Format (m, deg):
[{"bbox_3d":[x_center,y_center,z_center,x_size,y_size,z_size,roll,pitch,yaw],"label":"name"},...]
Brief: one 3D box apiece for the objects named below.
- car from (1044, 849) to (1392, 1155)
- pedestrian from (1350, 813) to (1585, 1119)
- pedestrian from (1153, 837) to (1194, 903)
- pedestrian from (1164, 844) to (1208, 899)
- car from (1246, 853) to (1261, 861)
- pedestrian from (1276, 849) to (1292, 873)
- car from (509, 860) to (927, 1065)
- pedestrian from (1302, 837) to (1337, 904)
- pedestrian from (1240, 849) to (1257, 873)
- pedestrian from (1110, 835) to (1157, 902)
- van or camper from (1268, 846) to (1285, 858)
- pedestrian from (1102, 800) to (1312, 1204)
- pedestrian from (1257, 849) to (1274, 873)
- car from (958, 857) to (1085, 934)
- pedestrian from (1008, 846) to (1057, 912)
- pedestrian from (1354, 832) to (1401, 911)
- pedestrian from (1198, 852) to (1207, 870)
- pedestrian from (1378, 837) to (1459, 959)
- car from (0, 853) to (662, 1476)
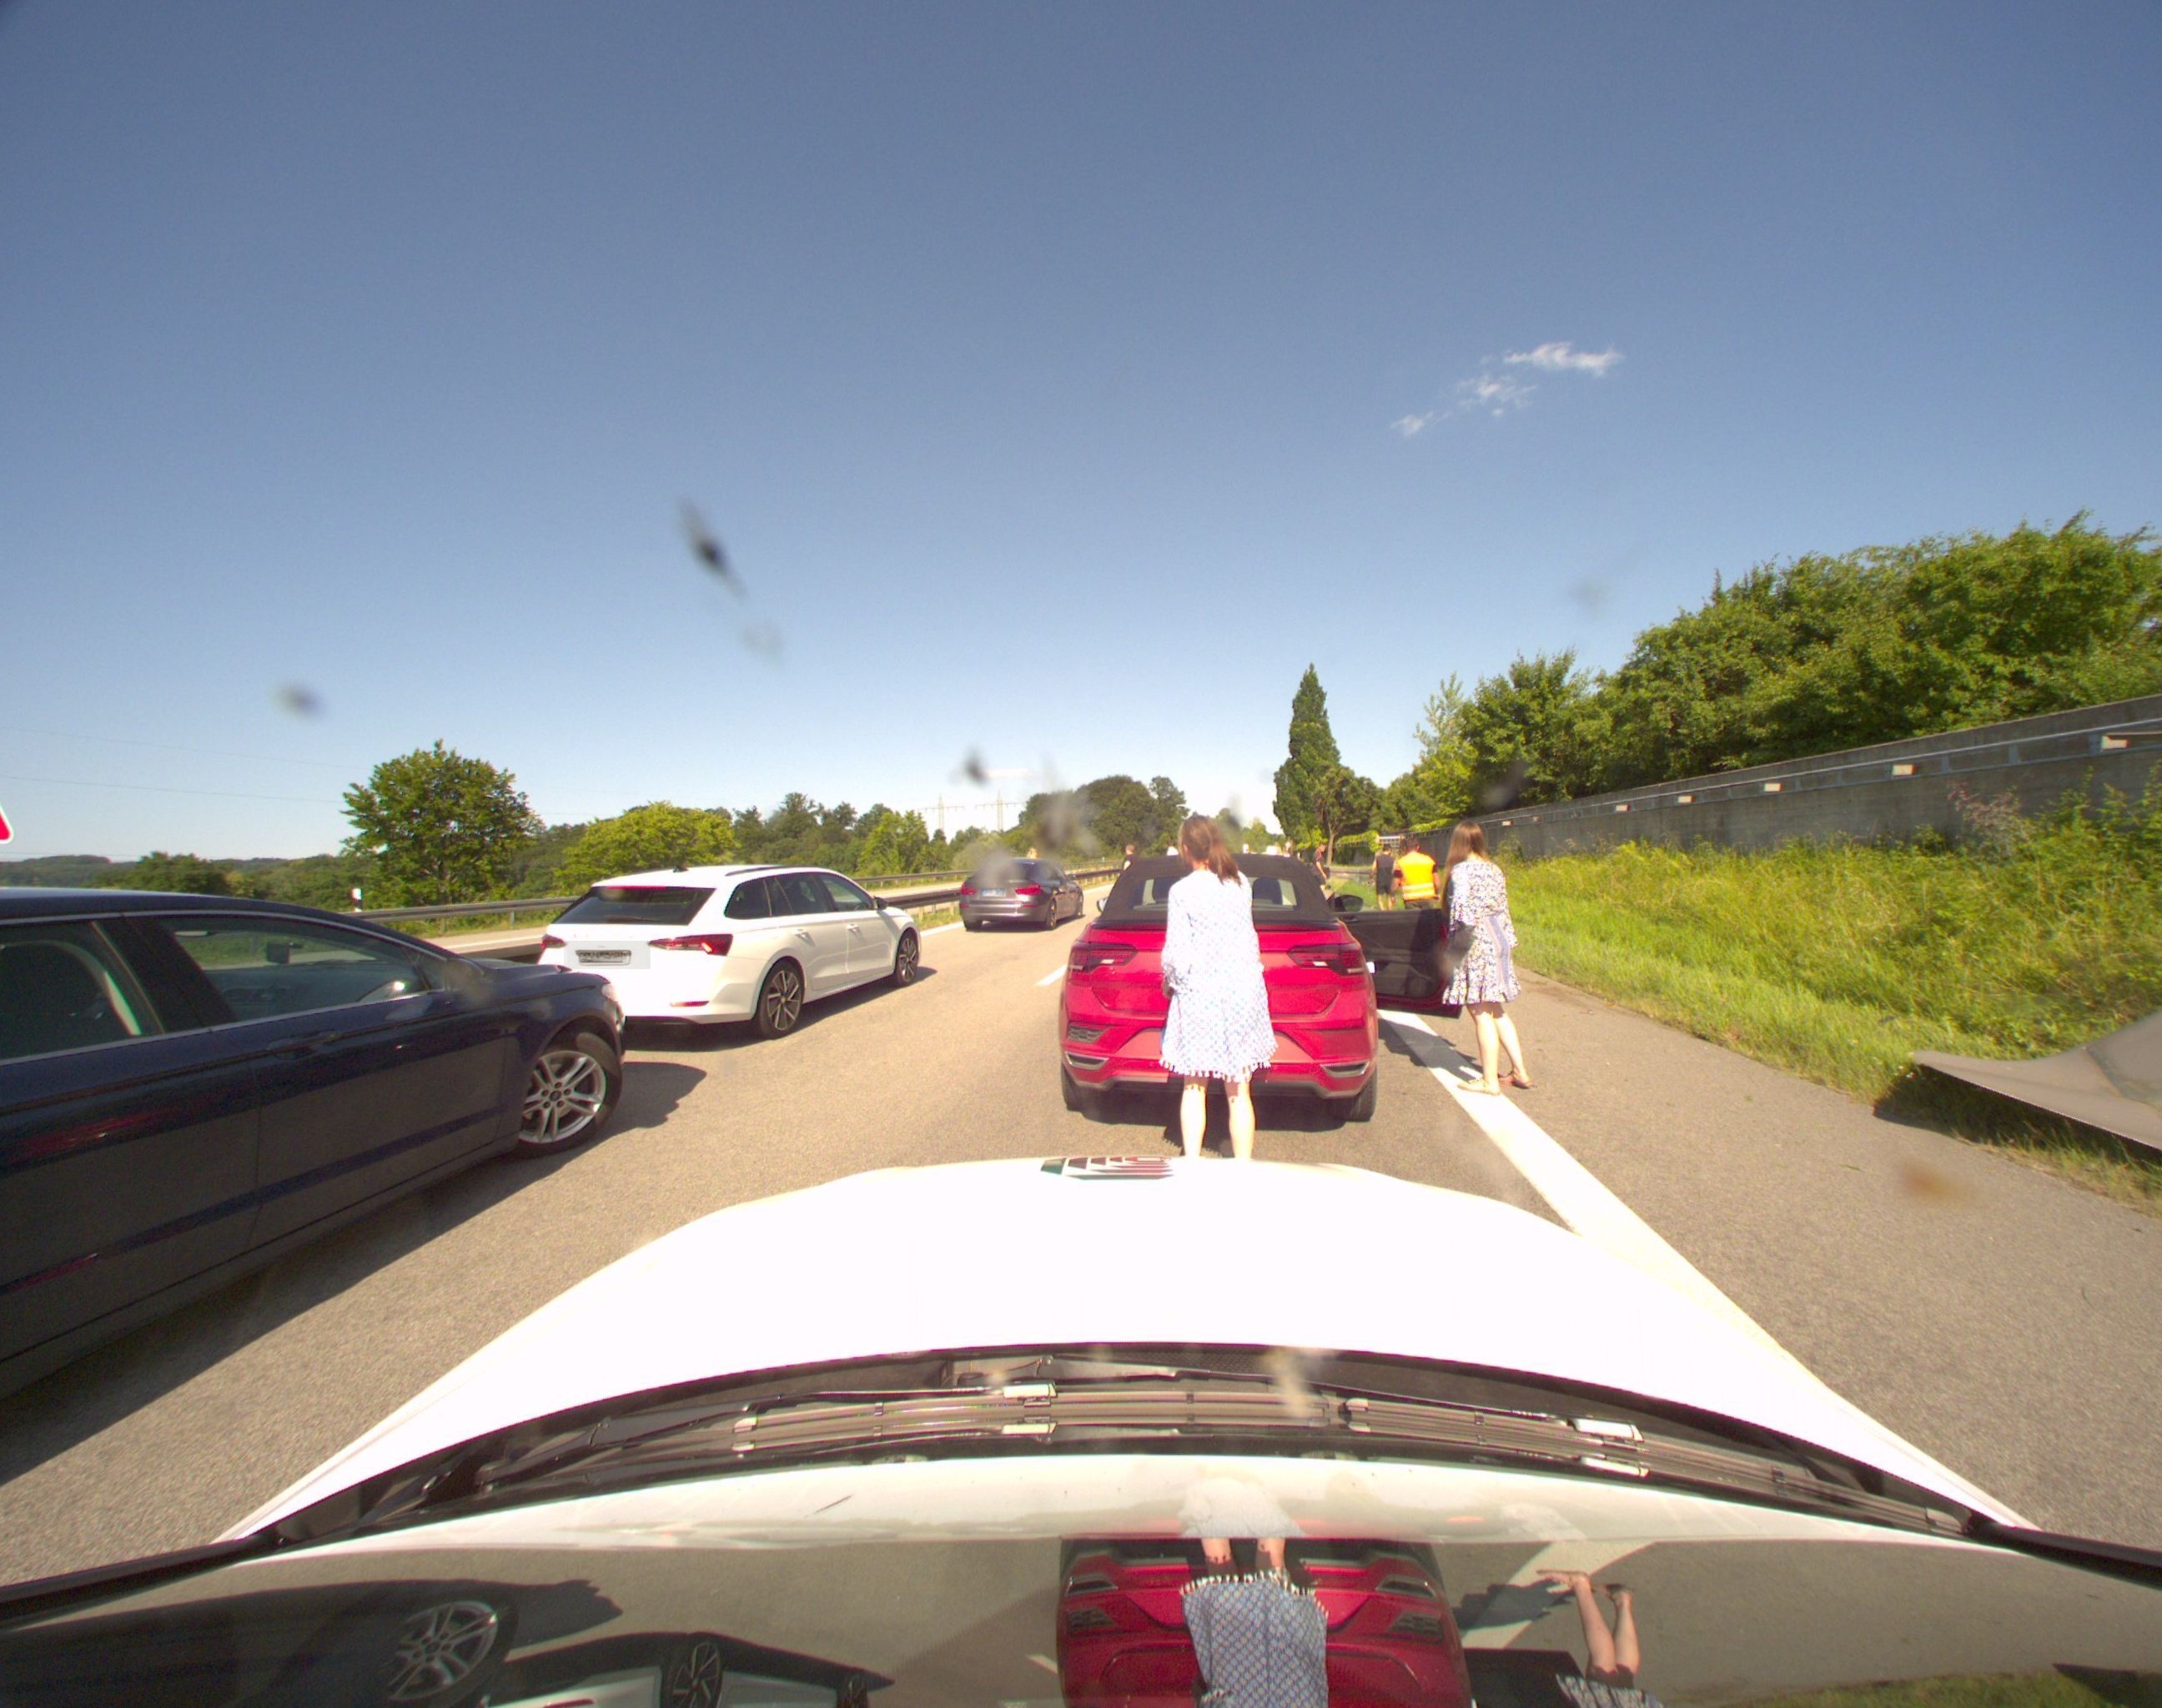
[{"bbox_3d":[1.045,0.722,6.183,1.721,1.487,4.222,0,0,10],"label":"car"},{"bbox_3d":[2.472,0.626,5.217,1.114,1.695,0.898,-2,-1,40],"label":"pedestrian"},{"bbox_3d":[2.798,0.473,24.851,1.101,1.912,1.258,-2,0,3],"label":"pedestrian"},{"bbox_3d":[3.523,0.571,27.350,1.091,1.789,1.100,0,-1,-19],"label":"pedestrian"},{"bbox_3d":[33.187,0.540,156.736,1.716,1.487,4.235,0,0,27],"label":"car"},{"bbox_3d":[14.787,0.519,59.206,0.987,1.689,1.016,0,-1,22],"label":"pedestrian"},{"bbox_3d":[-3.116,0.809,8.110,1.684,1.441,4.222,0,0,10],"label":"car"},{"bbox_3d":[6.434,0.445,21.966,0.804,1.759,0.832,0,-1,22],"label":"pedestrian"},{"bbox_3d":[11.891,0.531,57.878,1.105,1.689,0.977,0,-1,15],"label":"pedestrian"},{"bbox_3d":[1.540,0.417,23.639,1.056,1.883,1.098,-2,0,18],"label":"pedestrian"},{"bbox_3d":[37.058,-0.321,154.500,1.975,2.316,4.497,-1,-1,28],"label":"van or camper"},{"bbox_3d":[0.599,0.627,3.839,0.834,1.683,0.746,-2,0,11],"label":"pedestrian"},{"bbox_3d":[13.123,0.527,57.923,1.047,1.689,1.022,0,-1,17],"label":"pedestrian"},{"bbox_3d":[-1.139,0.798,17.738,1.684,1.426,4.346,0,0,10],"label":"car"},{"bbox_3d":[-1.334,0.678,22.806,1.033,1.763,1.122,-2,0,13],"label":"pedestrian"},{"bbox_3d":[6.662,0.384,18.315,0.888,1.725,0.757,0,-1,12],"label":"pedestrian"},{"bbox_3d":[11.070,0.641,74.155,0.785,1.689,0.795,0,-1,15],"label":"pedestrian"},{"bbox_3d":[4.834,0.605,11.760,0.950,1.654,1.284,-2,0,19],"label":"pedestrian"},{"bbox_3d":[-3.482,0.772,2.641,1.781,1.493,4.494,-2,0,2],"label":"car"}]
